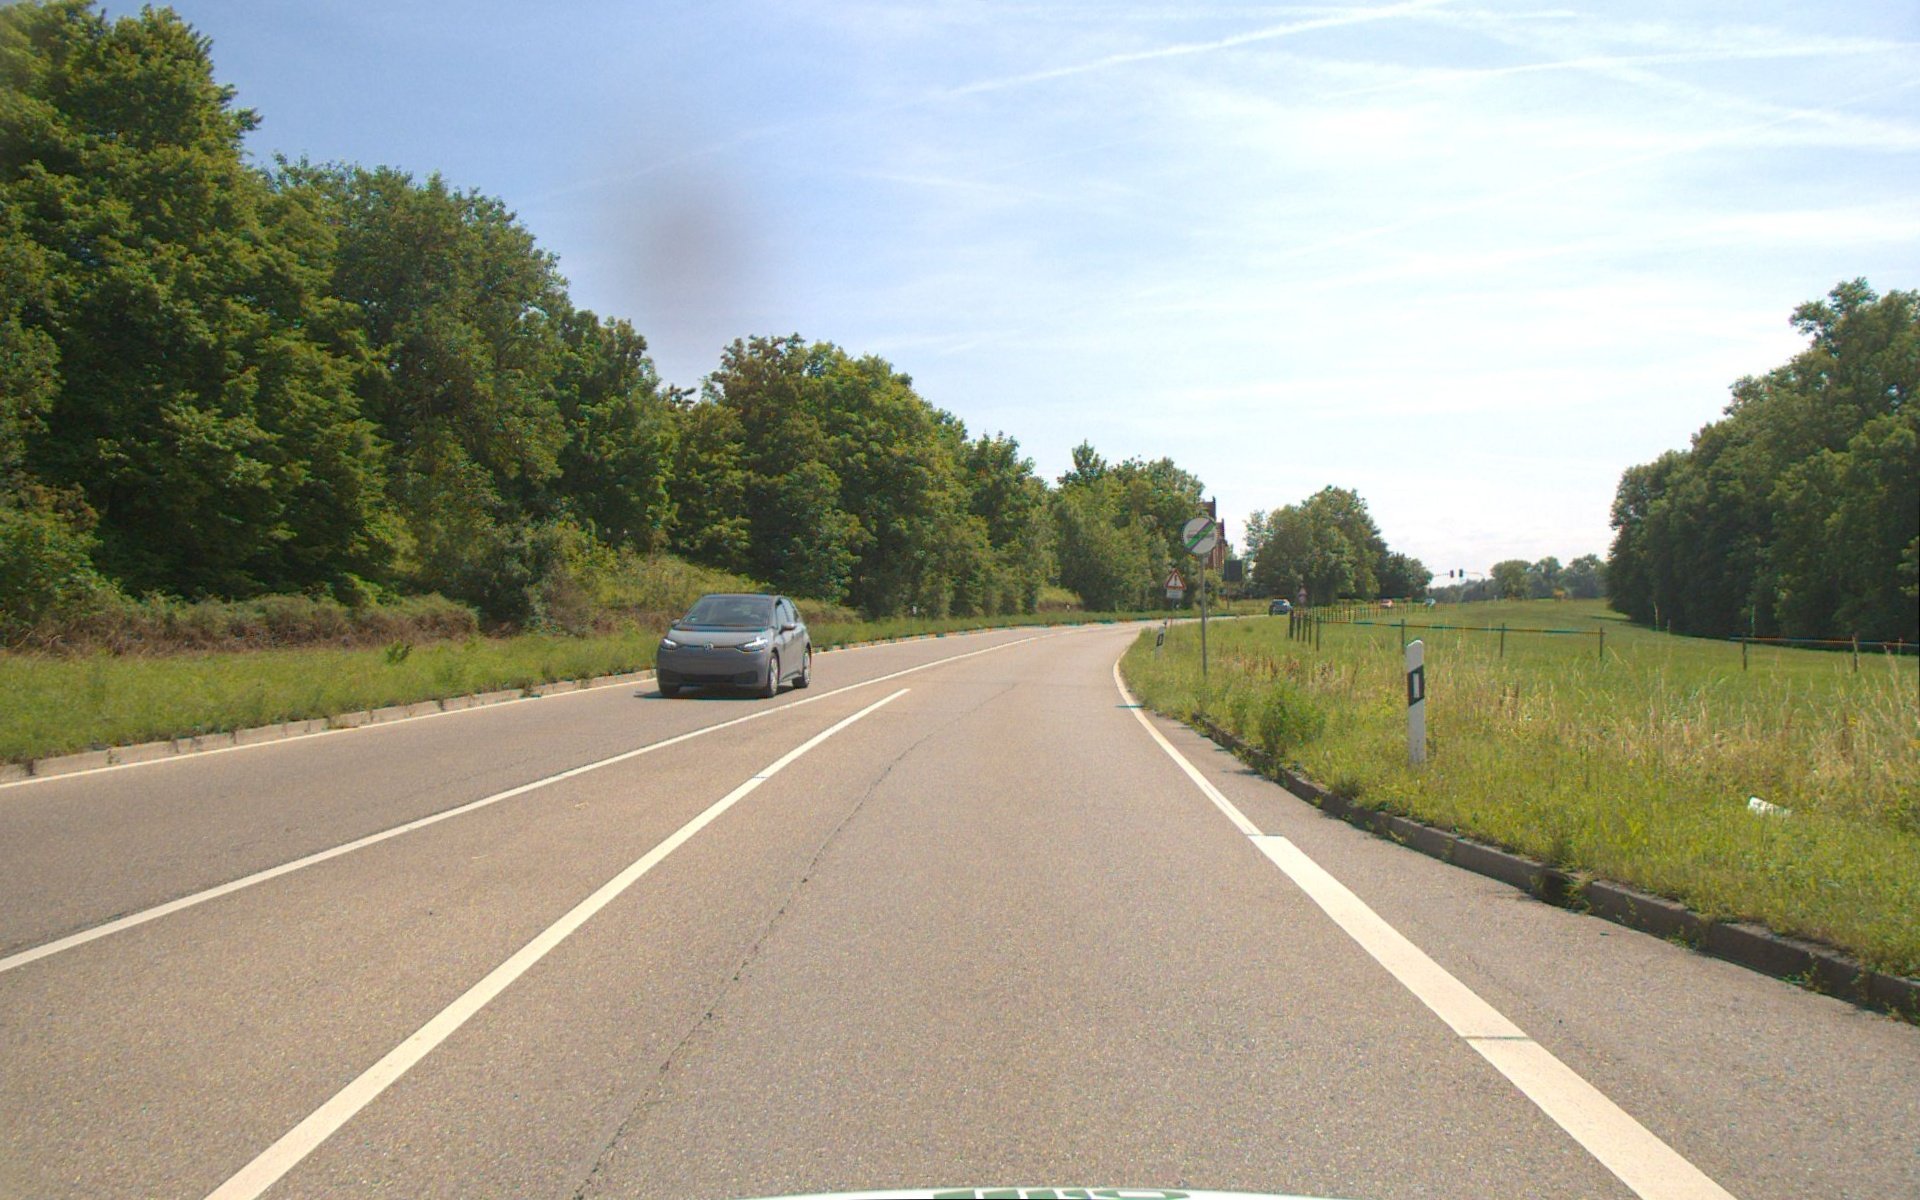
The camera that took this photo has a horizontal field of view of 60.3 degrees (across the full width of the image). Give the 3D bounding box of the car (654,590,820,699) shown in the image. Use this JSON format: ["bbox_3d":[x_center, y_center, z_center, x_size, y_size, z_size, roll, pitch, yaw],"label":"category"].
[{"bbox_3d":[-3.467,0.656,26.476,1.717,1.561,4.231,1,0,5],"label":"car"}]

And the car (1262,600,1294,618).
[{"bbox_3d":[29.403,0.815,152.871,1.954,1.601,3.997,1,0,25],"label":"car"}]

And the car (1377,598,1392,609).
[{"bbox_3d":[63.122,0.511,246.061,1.783,1.494,4.000,1,0,20],"label":"car"}]
